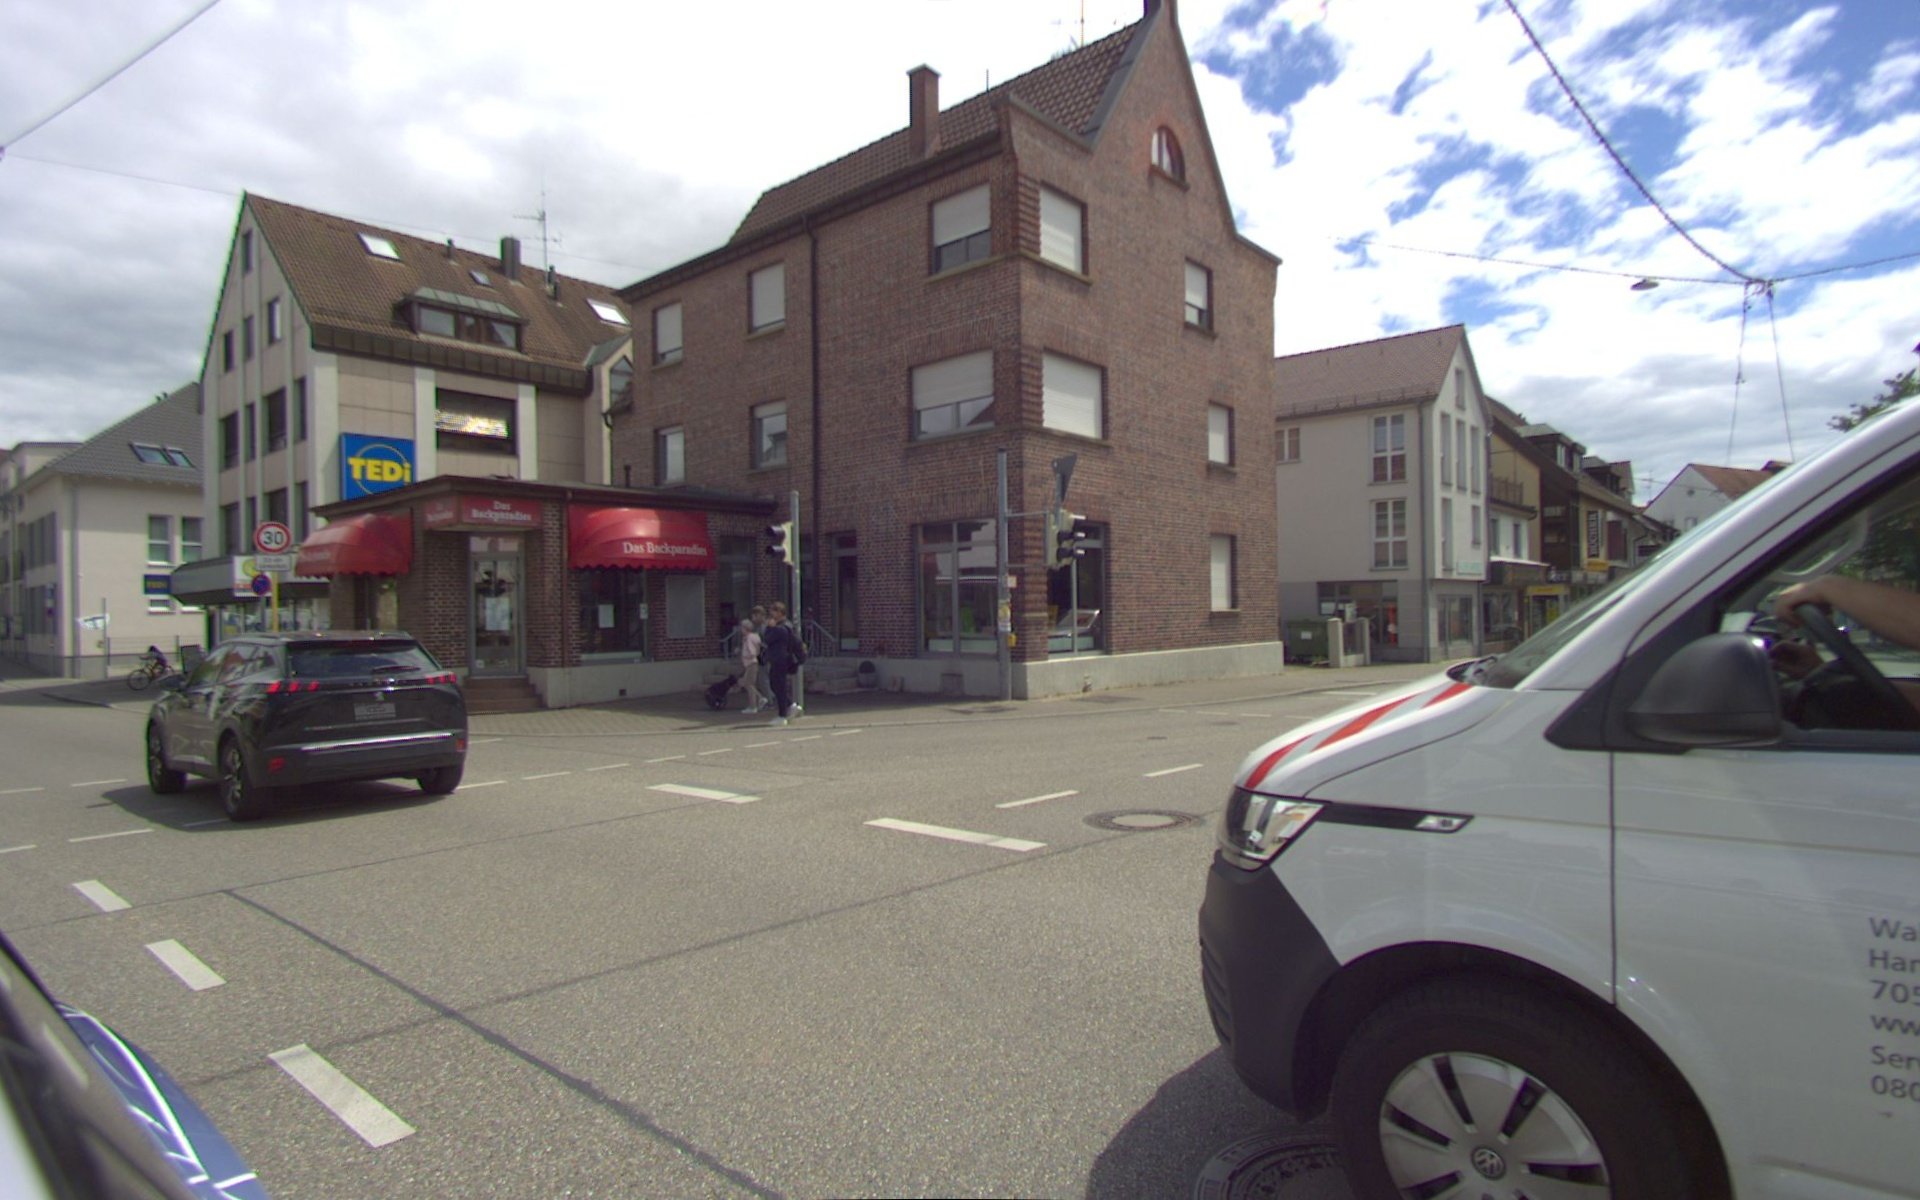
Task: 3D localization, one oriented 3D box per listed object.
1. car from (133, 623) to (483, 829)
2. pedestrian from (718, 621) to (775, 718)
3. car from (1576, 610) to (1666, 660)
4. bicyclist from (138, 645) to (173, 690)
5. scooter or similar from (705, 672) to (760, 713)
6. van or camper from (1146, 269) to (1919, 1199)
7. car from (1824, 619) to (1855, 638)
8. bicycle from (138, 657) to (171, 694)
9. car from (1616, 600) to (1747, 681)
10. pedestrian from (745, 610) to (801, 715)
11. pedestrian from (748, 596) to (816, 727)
[{"bbox_3d":[-6.182,1.007,9.427,3.964,1.508,1.666,-2,-2,40],"label":"car"},{"bbox_3d":[-3.416,1.091,16.213,0.760,1.496,0.519,-1,0,39],"label":"pedestrian"},{"bbox_3d":[22.187,1.153,33.907,1.920,1.586,4.270,-3,-3,41],"label":"car"},{"bbox_3d":[-25.602,2.144,32.194,0.761,1.347,0.660,-1,3,40],"label":"bicyclist"},{"bbox_3d":[-3.760,1.526,16.730,0.803,0.651,0.377,-1,-3,18],"label":"scooter or similar"},{"bbox_3d":[2.861,0.384,1.657,4.689,1.912,1.845,-3,-2,41],"label":"van or camper"},{"bbox_3d":[71.560,2.347,82.401,1.483,1.490,3.160,-2,-2,35],"label":"car"},{"bbox_3d":[-25.696,2.392,32.283,1.733,1.058,0.439,-1,3,40],"label":"bicycle"},{"bbox_3d":[15.670,0.846,21.908,1.920,1.586,3.945,-3,-3,41],"label":"car"},{"bbox_3d":[-3.068,1.008,16.626,0.760,1.671,0.519,-1,0,39],"label":"pedestrian"},{"bbox_3d":[-2.544,0.850,14.474,0.719,1.810,0.619,-1,0,38],"label":"pedestrian"}]
